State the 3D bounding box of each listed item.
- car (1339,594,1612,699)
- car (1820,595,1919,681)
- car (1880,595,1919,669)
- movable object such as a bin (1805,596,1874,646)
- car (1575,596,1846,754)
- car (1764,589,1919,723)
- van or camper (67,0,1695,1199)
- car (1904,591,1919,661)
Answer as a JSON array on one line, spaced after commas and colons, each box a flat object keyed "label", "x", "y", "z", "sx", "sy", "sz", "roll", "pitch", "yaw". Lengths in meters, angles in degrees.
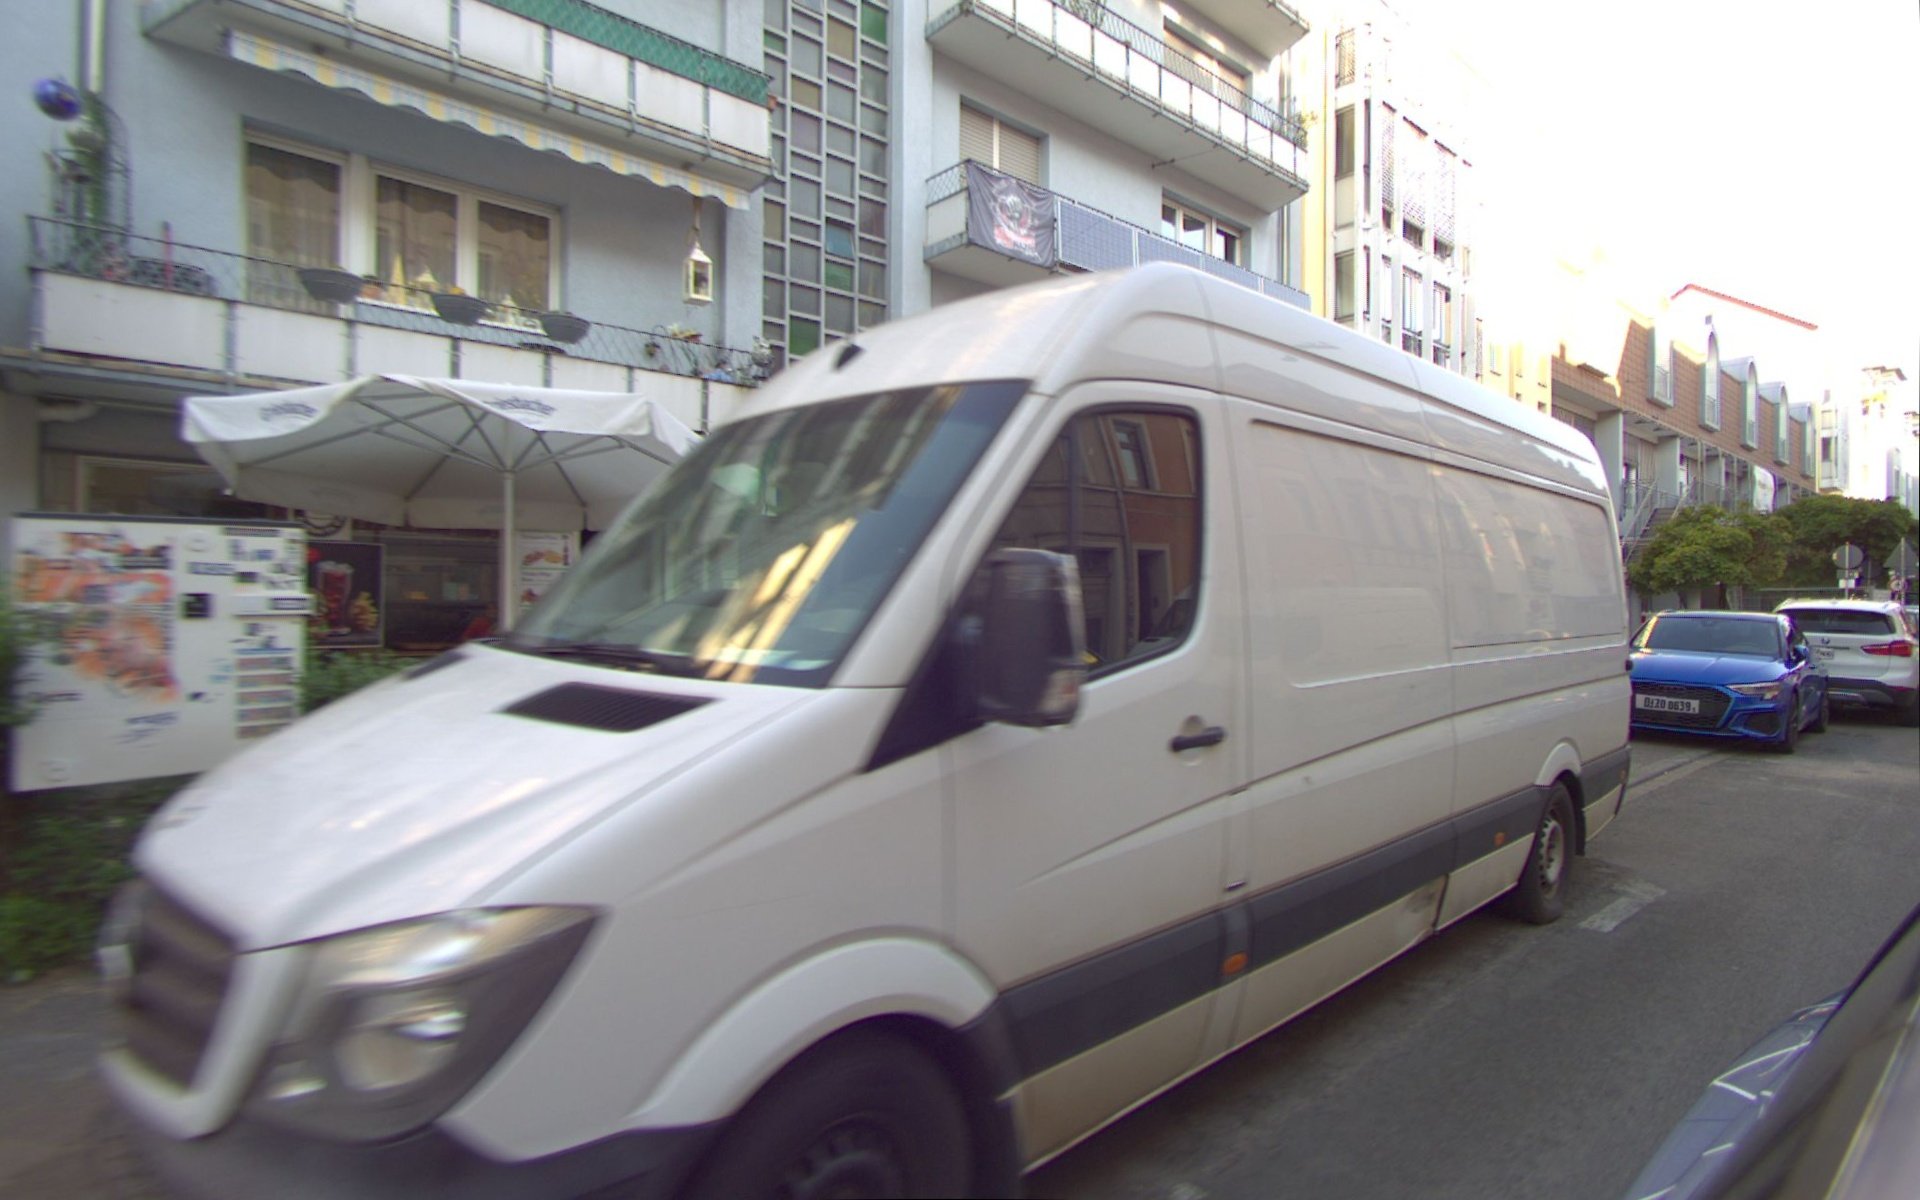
[{"label": "car", "x": 8.866, "y": 0.748, "z": 17.646, "sx": 1.665, "sy": 1.628, "sz": 3.900, "roll": 0, "pitch": -1, "yaw": -42}, {"label": "car", "x": 18.490, "y": 0.690, "z": 20.042, "sx": 4.053, "sy": 1.504, "sz": 1.623, "roll": 0, "pitch": 2, "yaw": -41}, {"label": "car", "x": 22.114, "y": 0.686, "z": 22.830, "sx": 3.630, "sy": 1.577, "sz": 1.624, "roll": 0, "pitch": -1, "yaw": -41}, {"label": "movable object such as a bin", "x": 24.915, "y": 0.592, "z": 28.689, "sx": 1.240, "sy": 1.394, "sz": 0.795, "roll": -1, "pitch": -1, "yaw": 24}, {"label": "car", "x": 8.562, "y": 0.686, "z": 11.396, "sx": 4.223, "sy": 1.405, "sz": 1.725, "roll": 0, "pitch": 2, "yaw": -43}, {"label": "car", "x": 12.822, "y": 0.664, "z": 14.320, "sx": 4.513, "sy": 1.632, "sz": 1.723, "roll": 0, "pitch": 0, "yaw": -44}, {"label": "van or camper", "x": 1.066, "y": 0.122, "z": 4.407, "sx": 7.386, "sy": 2.635, "sz": 2.102, "roll": 0, "pitch": 1, "yaw": -43}, {"label": "car", "x": 25.475, "y": 0.620, "z": 25.592, "sx": 4.444, "sy": 1.705, "sz": 1.752, "roll": 0, "pitch": -1, "yaw": -40}]
